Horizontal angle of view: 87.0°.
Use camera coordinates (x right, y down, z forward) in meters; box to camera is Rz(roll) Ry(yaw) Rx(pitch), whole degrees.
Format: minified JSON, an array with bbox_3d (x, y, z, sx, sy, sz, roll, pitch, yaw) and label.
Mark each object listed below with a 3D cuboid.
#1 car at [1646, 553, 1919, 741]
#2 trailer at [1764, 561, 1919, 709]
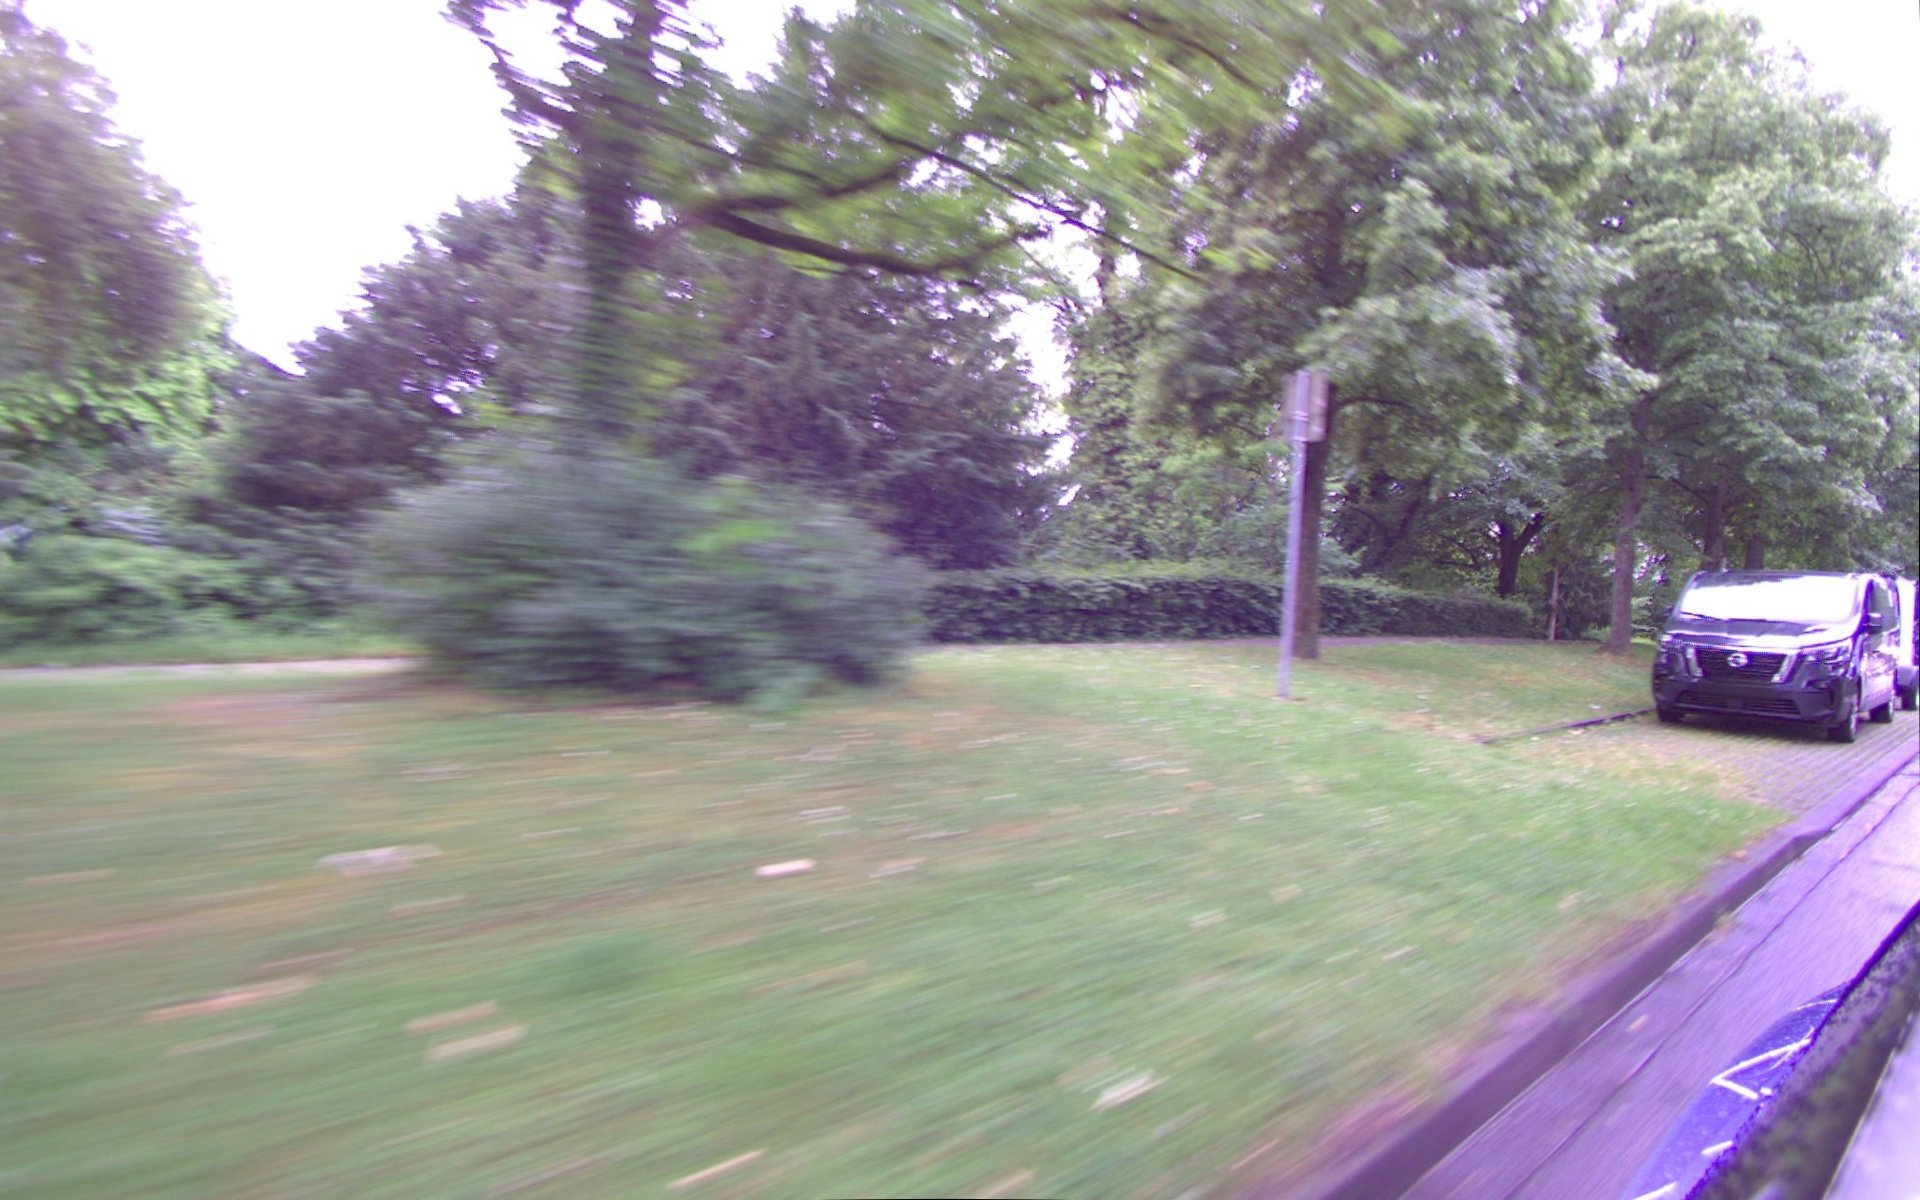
[{"bbox_3d":[10.740,0.497,12.948,5.414,1.933,1.997,1,1,-42],"label":"car"},{"bbox_3d":[14.496,0.535,16.400,3.929,2.101,1.533,2,1,-41],"label":"trailer"}]
